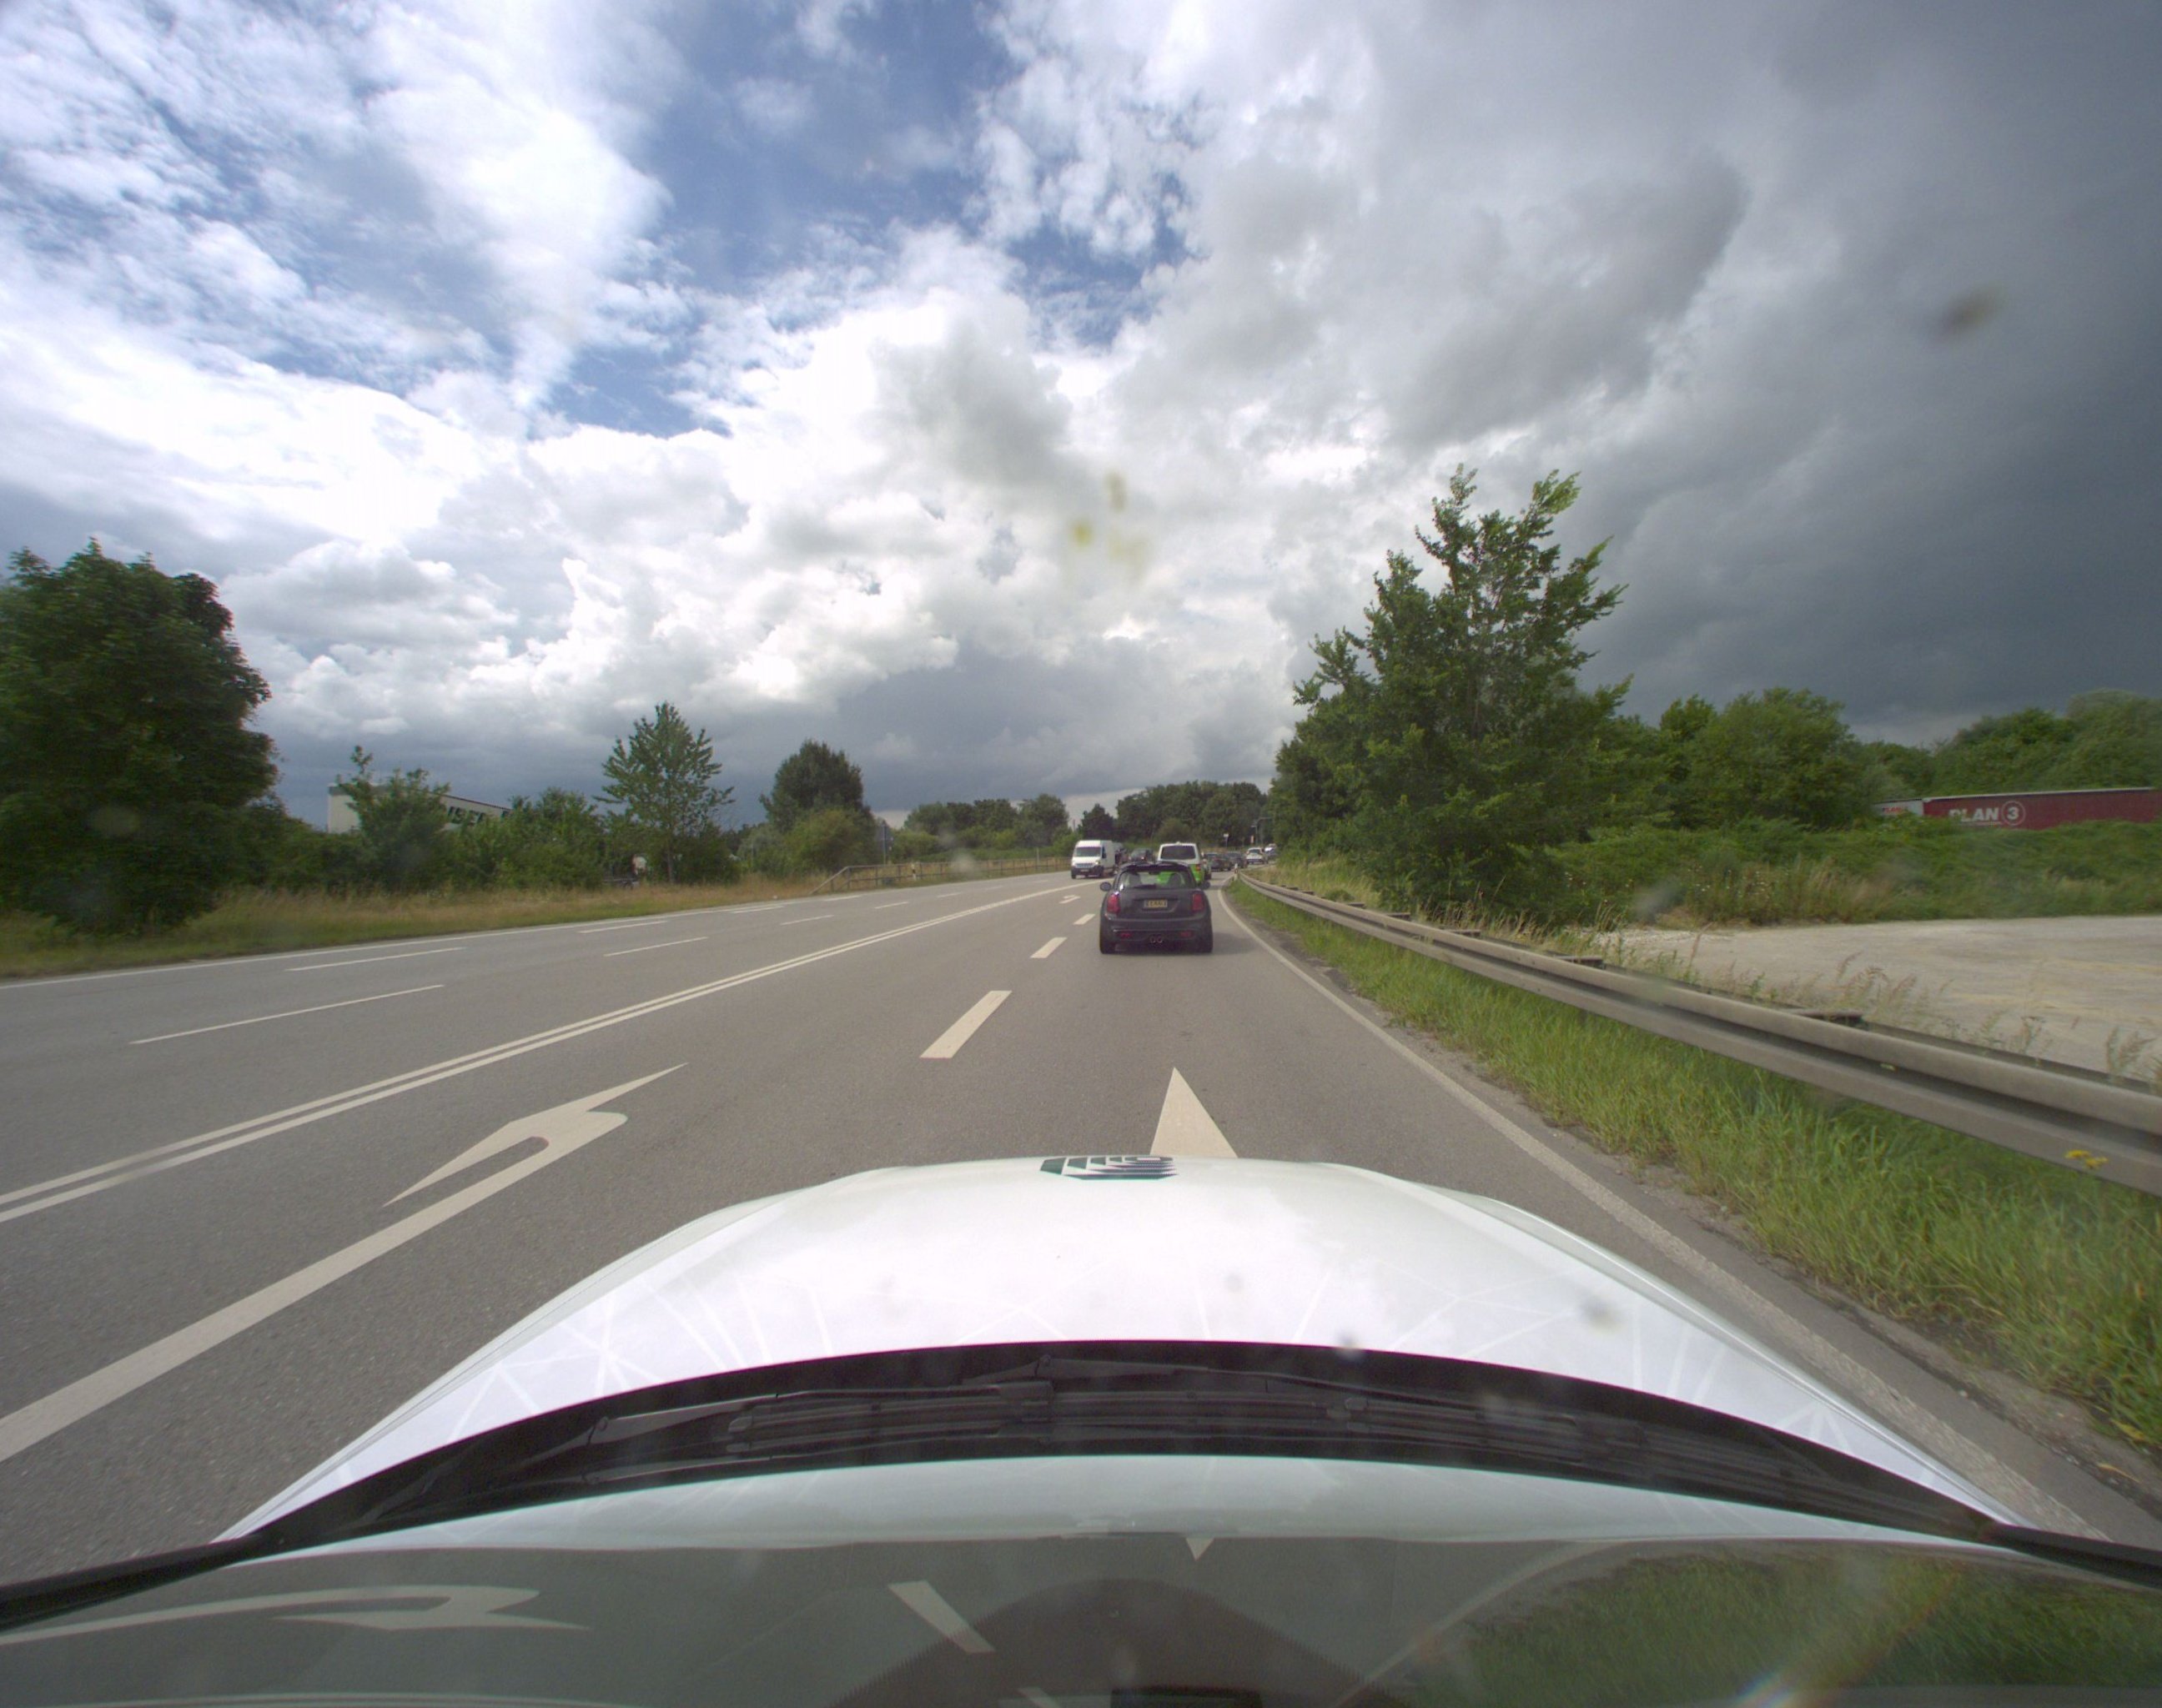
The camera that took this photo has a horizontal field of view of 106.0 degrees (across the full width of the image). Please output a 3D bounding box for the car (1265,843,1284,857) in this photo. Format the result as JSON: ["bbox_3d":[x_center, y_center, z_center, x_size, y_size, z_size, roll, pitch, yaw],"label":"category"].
[{"bbox_3d":[22.434,-0.454,94.446,1.978,1.684,4.017,0,0,16],"label":"car"}]

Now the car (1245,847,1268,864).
[{"bbox_3d":[17.804,0.148,82.459,1.978,1.684,4.017,0,0,16],"label":"car"}]

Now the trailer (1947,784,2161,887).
[{"bbox_3d":[51.476,-0.974,42.348,10.223,4.835,2.665,-2,0,-2],"label":"trailer"}]

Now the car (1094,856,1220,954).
[{"bbox_3d":[1.283,0.772,13.909,1.836,1.428,3.846,0,-1,5],"label":"car"}]

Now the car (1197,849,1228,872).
[{"bbox_3d":[10.145,0.472,62.763,1.979,1.684,4.015,0,0,14],"label":"car"}]

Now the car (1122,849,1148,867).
[{"bbox_3d":[5.482,0.383,81.839,1.980,1.797,4.334,-1,0,12],"label":"car"}]

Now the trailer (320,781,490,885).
[{"bbox_3d":[-35.839,-1.017,43.758,2.798,4.996,8.955,0,0,-9],"label":"trailer"}]

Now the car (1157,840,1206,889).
[{"bbox_3d":[4.351,0.437,34.936,1.833,1.987,3.852,-1,-1,10],"label":"car"}]

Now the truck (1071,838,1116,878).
[{"bbox_3d":[0.840,0.225,52.239,2.010,2.444,5.039,0,0,11],"label":"truck"}]

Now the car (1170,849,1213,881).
[{"bbox_3d":[6.206,0.589,45.299,1.980,1.684,4.014,-1,-1,13],"label":"car"}]

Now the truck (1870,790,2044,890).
[{"bbox_3d":[45.197,-0.719,42.120,6.127,4.786,2.665,-2,0,-2],"label":"truck"}]

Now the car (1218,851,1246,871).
[{"bbox_3d":[13.183,0.614,70.888,1.978,1.684,3.994,0,0,16],"label":"car"}]

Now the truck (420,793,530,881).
[{"bbox_3d":[-36.833,-0.990,49.800,2.795,4.996,6.170,0,0,-10],"label":"truck"}]

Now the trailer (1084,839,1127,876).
[{"bbox_3d":[1.791,0.201,57.426,2.011,2.444,6.985,0,0,10],"label":"trailer"}]
